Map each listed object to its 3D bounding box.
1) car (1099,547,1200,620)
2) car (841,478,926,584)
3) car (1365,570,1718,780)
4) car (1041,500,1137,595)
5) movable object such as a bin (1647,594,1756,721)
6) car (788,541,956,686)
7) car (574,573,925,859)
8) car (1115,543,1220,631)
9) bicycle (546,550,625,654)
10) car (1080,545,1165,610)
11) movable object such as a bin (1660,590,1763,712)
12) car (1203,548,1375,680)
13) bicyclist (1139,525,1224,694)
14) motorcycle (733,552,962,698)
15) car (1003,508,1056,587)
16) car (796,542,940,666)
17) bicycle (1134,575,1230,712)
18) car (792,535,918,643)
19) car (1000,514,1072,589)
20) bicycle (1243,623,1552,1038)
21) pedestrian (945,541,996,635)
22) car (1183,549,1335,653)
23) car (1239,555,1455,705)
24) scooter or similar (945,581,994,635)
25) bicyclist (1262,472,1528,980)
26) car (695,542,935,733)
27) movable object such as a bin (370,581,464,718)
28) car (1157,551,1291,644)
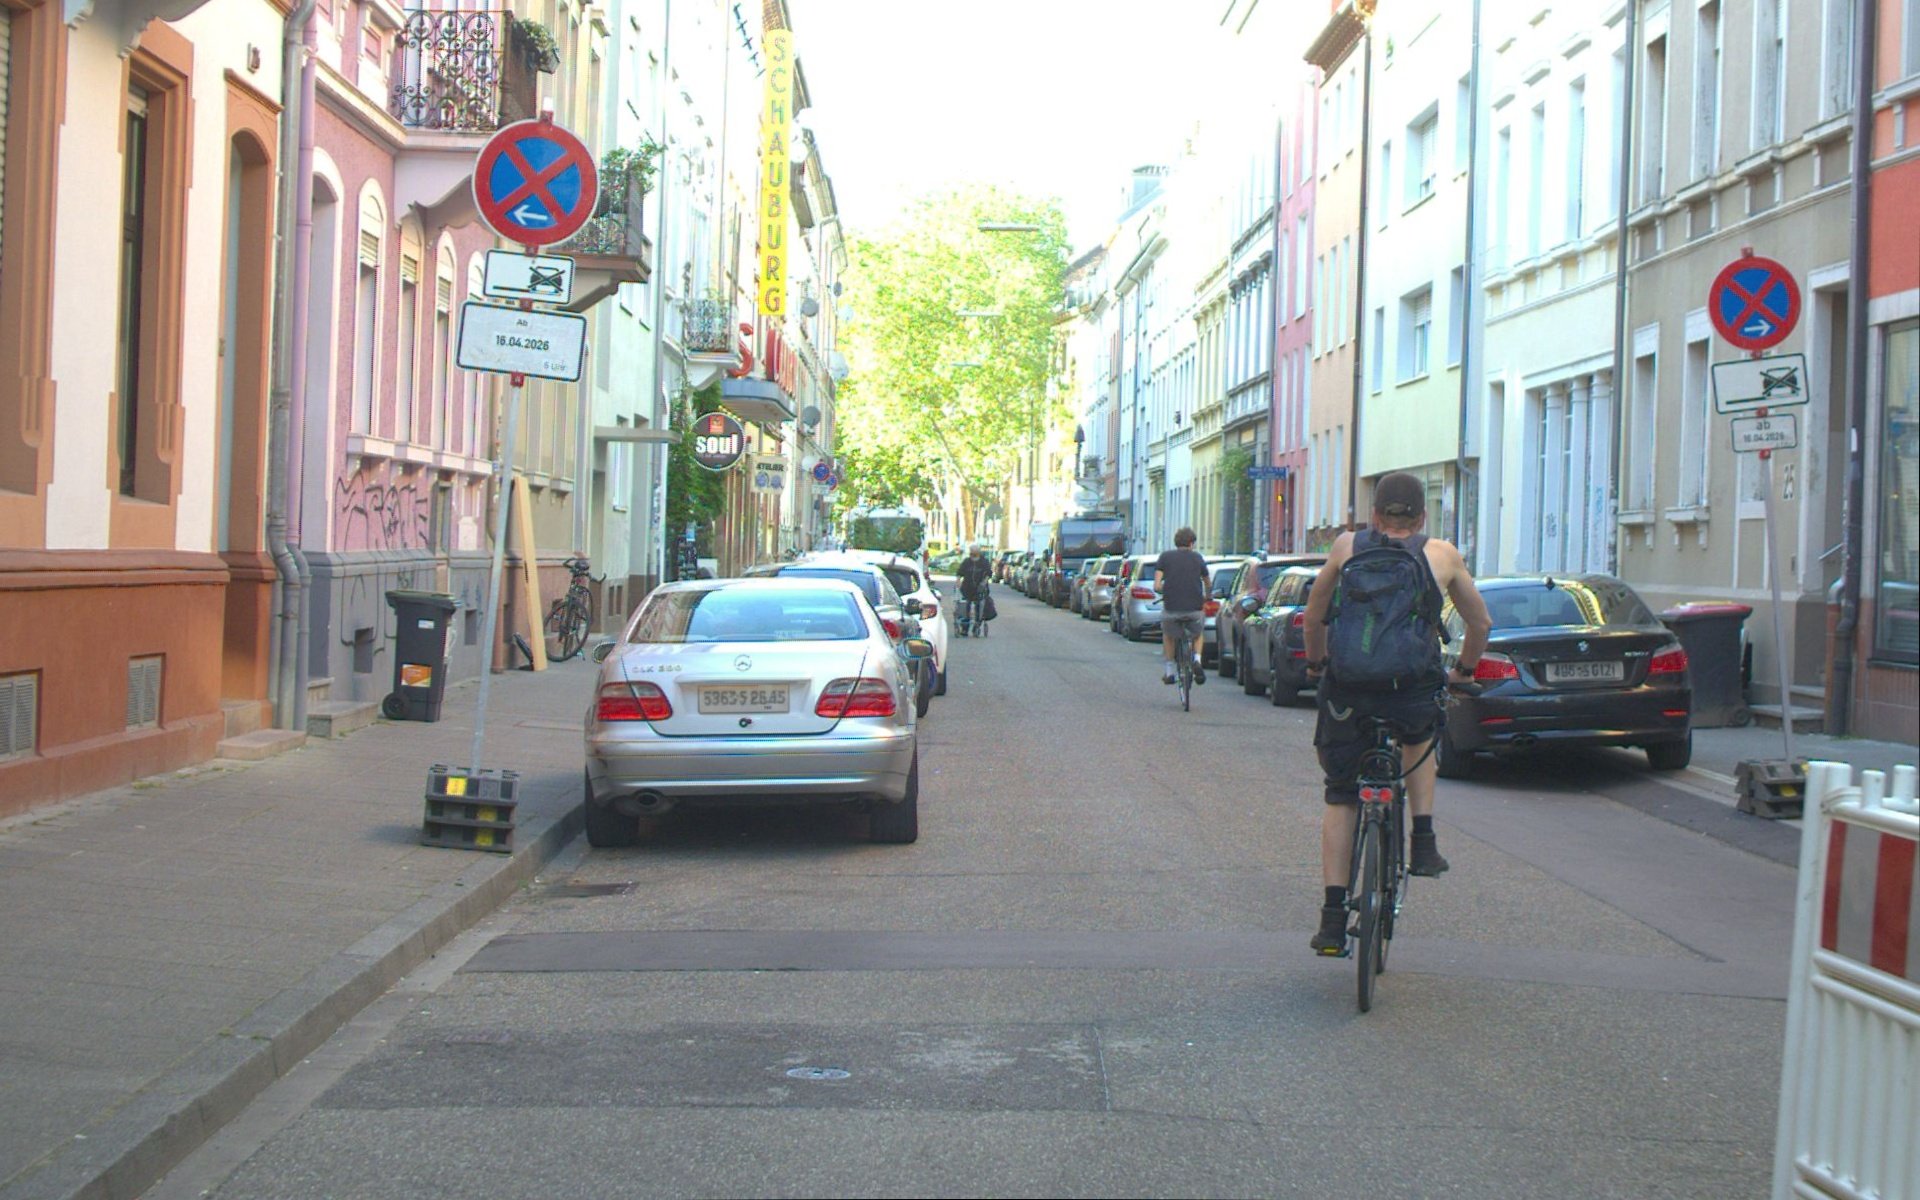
[{"bbox_3d":[3.715,-0.338,67.830,1.710,1.389,4.000,0,1,-1],"label":"car"},{"bbox_3d":[-1.883,-1.681,83.698,1.909,2.488,4.166,1,1,-3],"label":"car"},{"bbox_3d":[4.304,0.499,26.160,1.817,1.433,4.791,0,1,-1],"label":"car"},{"bbox_3d":[3.531,-1.437,95.116,2.307,2.529,6.770,0,1,-1],"label":"car"},{"bbox_3d":[6.459,0.496,29.969,0.736,1.071,0.677,-1,1,-7],"label":"movable object such as a bin"},{"bbox_3d":[-0.906,0.114,36.338,1.672,1.437,4.165,0,1,-1],"label":"car"},{"bbox_3d":[-1.057,0.548,19.033,1.710,1.378,4.506,0,1,-1],"label":"car"},{"bbox_3d":[3.754,-0.245,62.646,1.620,1.545,4.000,0,1,-1],"label":"car"},{"bbox_3d":[-4.099,0.011,37.709,0.592,1.085,2.079,3,1,0],"label":"bicycle"},{"bbox_3d":[3.722,-0.529,79.370,1.710,1.442,4.000,0,1,-1],"label":"car"},{"bbox_3d":[6.785,0.458,31.068,0.807,1.071,0.677,-1,1,4],"label":"movable object such as a bin"},{"bbox_3d":[4.044,0.143,42.764,1.710,1.551,4.000,0,1,-1],"label":"car"},{"bbox_3d":[2.166,0.086,33.722,0.702,1.599,0.813,2,2,-1],"label":"bicyclist"},{"bbox_3d":[-1.094,0.233,33.544,2.146,1.354,0.540,-1,2,-18],"label":"motorcycle"},{"bbox_3d":[3.372,-2.550,167.941,2.307,3.755,6.770,0,1,-1],"label":"car"},{"bbox_3d":[-1.102,0.024,41.963,1.672,1.437,3.768,0,1,-1],"label":"car"},{"bbox_3d":[2.166,0.404,33.846,0.702,1.203,2.342,2,2,-1],"label":"bicycle"},{"bbox_3d":[-1.422,-0.170,47.659,1.672,1.437,3.754,0,1,-1],"label":"car"},{"bbox_3d":[2.628,-1.696,120.562,2.307,2.529,6.770,0,1,-1],"label":"car"},{"bbox_3d":[1.453,0.724,11.831,0.702,1.204,2.342,2,1,-1],"label":"bicycle"},{"bbox_3d":[0.170,-0.212,59.074,0.770,1.573,0.900,3,0,-1],"label":"pedestrian"},{"bbox_3d":[4.097,-0.007,47.657,1.710,1.378,4.000,0,1,-1],"label":"car"},{"bbox_3d":[4.093,0.281,36.941,1.817,1.516,4.000,0,1,-1],"label":"car"},{"bbox_3d":[0.158,0.133,58.758,0.770,0.870,0.771,3,0,-1],"label":"scooter or similar"},{"bbox_3d":[1.459,0.398,11.700,0.702,1.627,1.090,2,1,-1],"label":"bicyclist"},{"bbox_3d":[-1.162,0.262,29.366,1.710,1.378,4.356,2,2,1],"label":"car"},{"bbox_3d":[-3.901,0.350,24.714,0.543,0.941,0.487,3,0,0],"label":"movable object such as a bin"},{"bbox_3d":[4.039,-0.066,53.109,1.710,1.378,4.000,0,1,-1],"label":"car"}]
